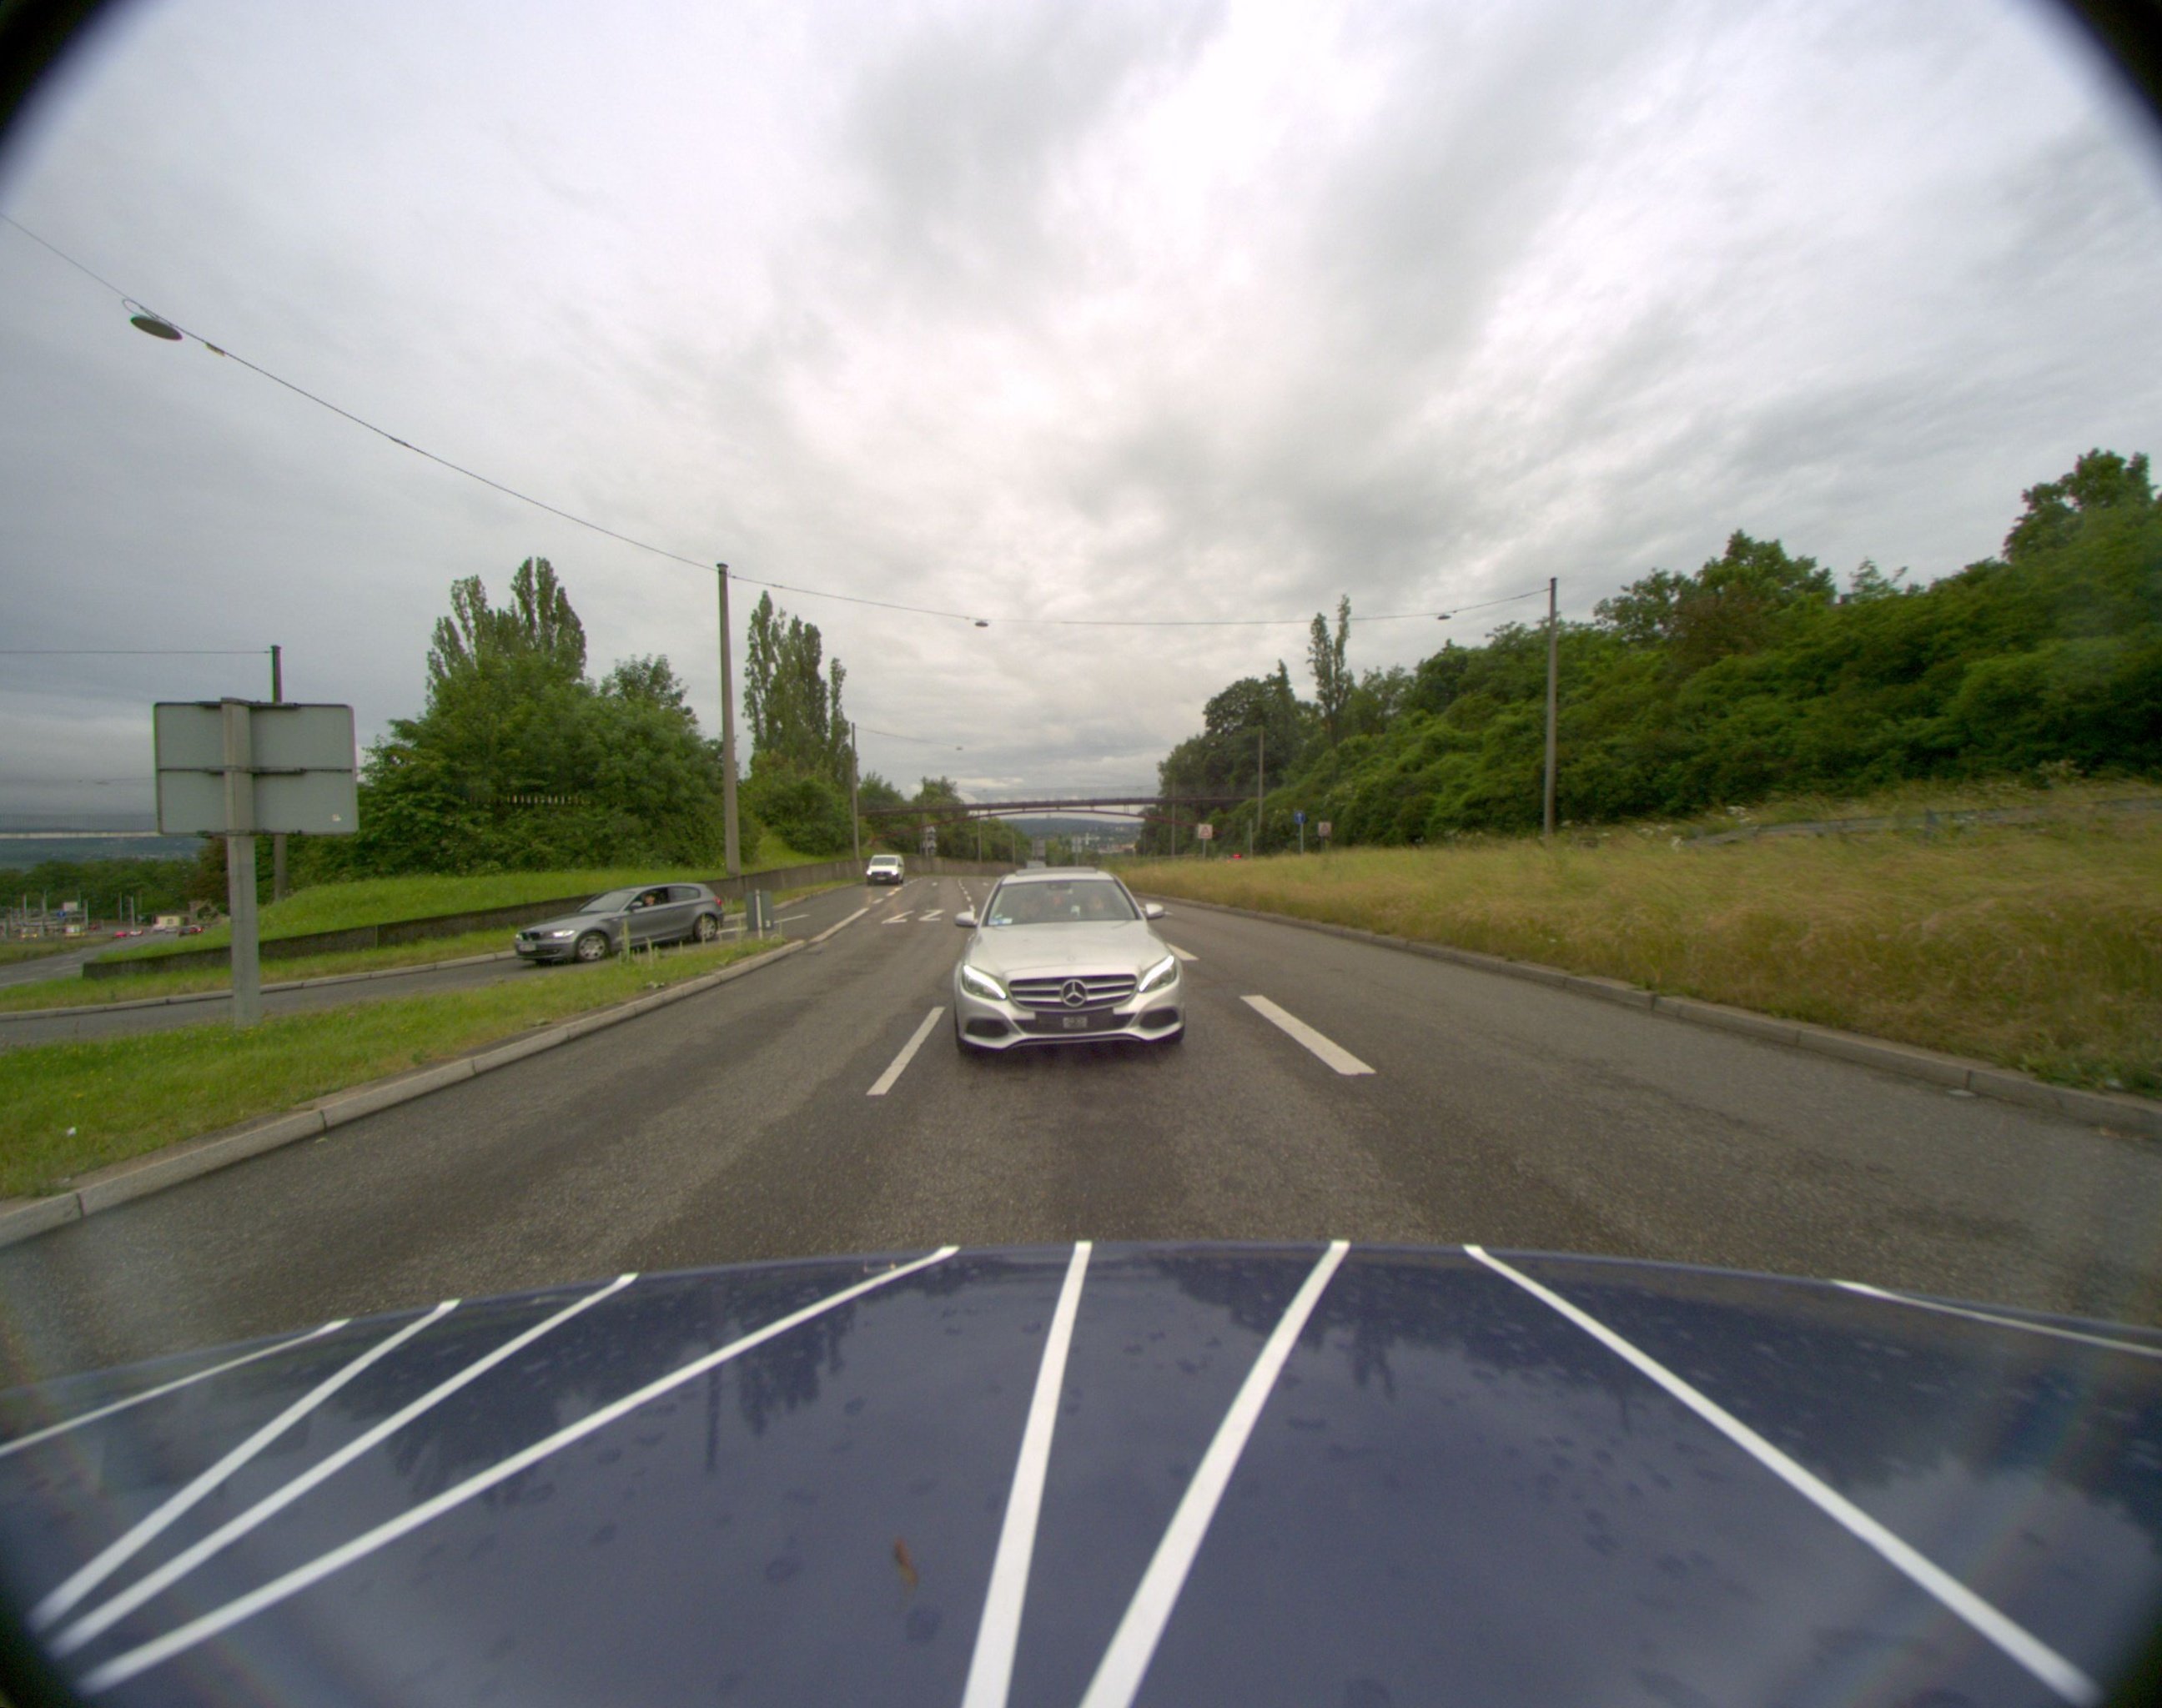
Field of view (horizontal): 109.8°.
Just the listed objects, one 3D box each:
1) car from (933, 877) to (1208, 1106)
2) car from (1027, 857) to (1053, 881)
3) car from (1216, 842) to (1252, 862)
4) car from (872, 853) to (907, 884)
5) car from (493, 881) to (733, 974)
[{"bbox_3d":[-0.231,1.012,7.380,1.895,1.360,4.132,-2,1,-5],"label":"car"},{"bbox_3d":[-2.837,1.000,52.154,1.646,1.495,3.777,-4,0,-4],"label":"car"},{"bbox_3d":[12.447,-0.193,62.173,1.999,1.445,4.284,-2,1,-1],"label":"car"},{"bbox_3d":[-12.113,0.883,48.299,2.001,1.837,4.818,0,1,-12],"label":"car"},{"bbox_3d":[-9.740,1.460,16.214,1.682,1.412,4.086,-2,2,21],"label":"car"}]
